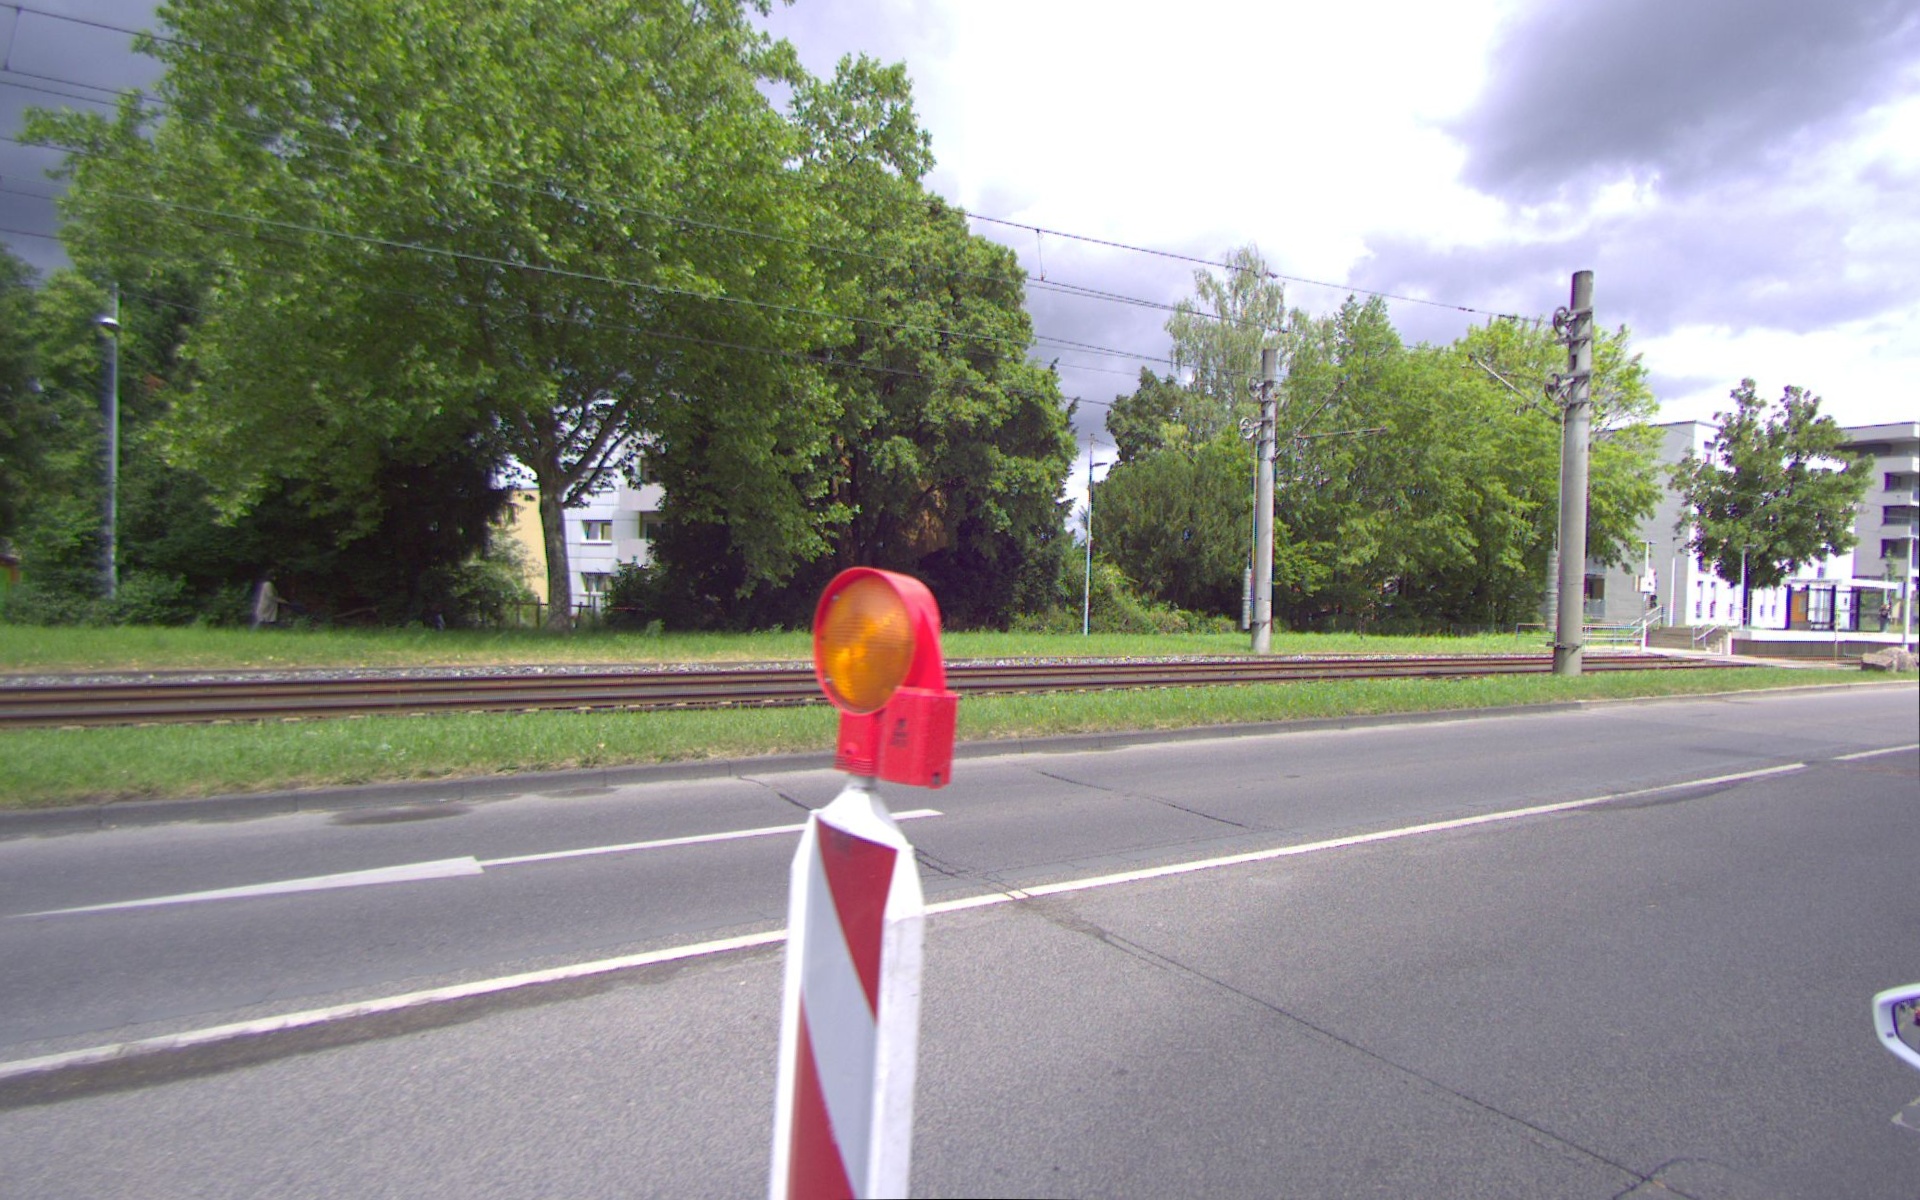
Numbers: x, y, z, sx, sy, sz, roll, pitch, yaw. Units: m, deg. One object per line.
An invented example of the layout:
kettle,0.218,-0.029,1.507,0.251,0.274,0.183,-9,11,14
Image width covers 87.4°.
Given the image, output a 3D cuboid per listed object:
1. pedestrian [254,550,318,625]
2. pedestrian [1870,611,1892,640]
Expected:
pedestrian,-18.193,-0.321,27.146,1.347,1.959,1.029,1,1,-30
pedestrian,51.990,1.444,56.706,0.540,1.551,0.738,2,1,-28
